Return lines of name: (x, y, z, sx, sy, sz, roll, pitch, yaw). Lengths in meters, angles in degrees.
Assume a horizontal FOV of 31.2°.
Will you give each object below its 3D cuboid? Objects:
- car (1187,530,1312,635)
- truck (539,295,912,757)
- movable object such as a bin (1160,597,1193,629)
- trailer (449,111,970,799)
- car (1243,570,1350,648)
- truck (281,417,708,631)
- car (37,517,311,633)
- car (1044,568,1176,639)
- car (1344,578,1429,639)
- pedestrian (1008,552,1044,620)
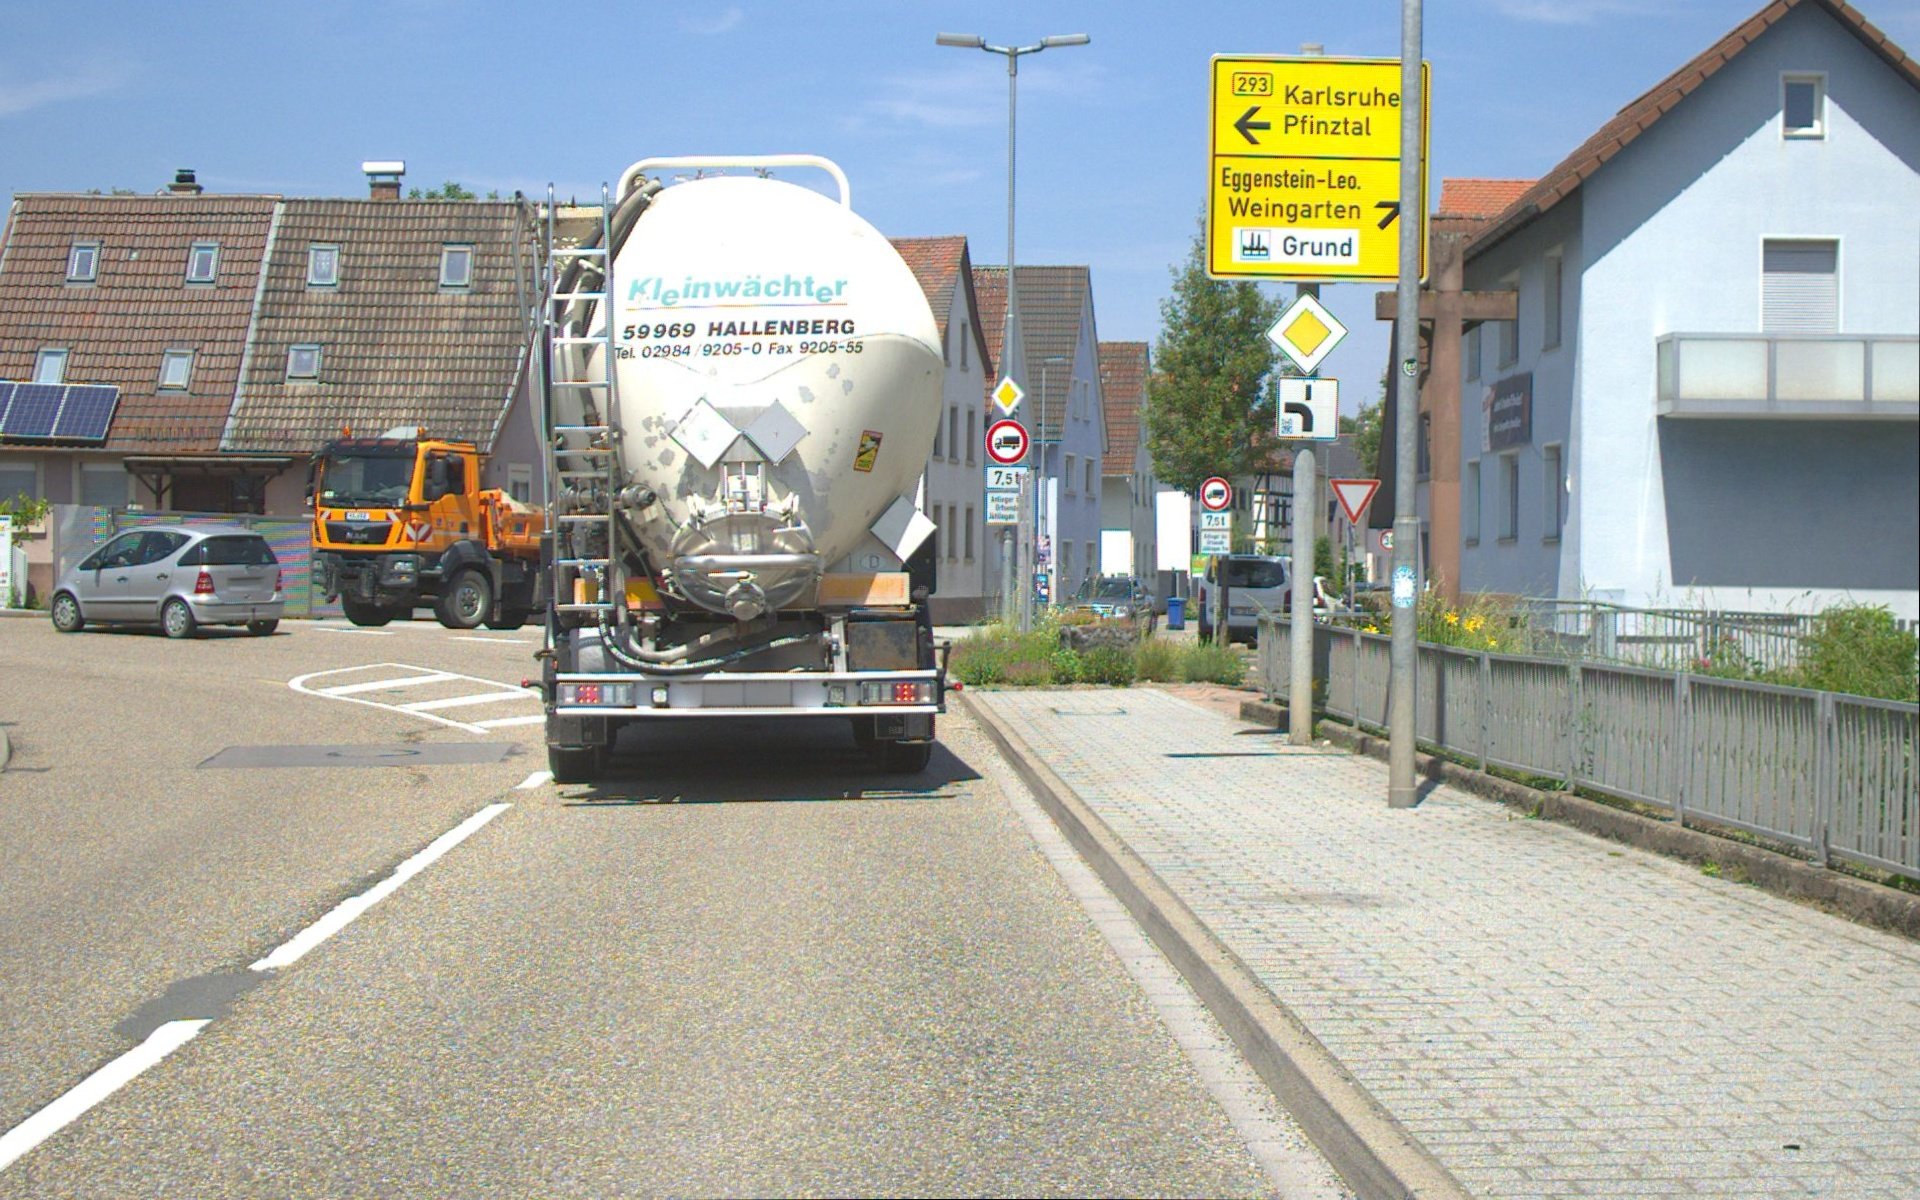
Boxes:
car: (5.773, -0.322, 68.094, 1.994, 1.906, 4.322, 2, -1, 10)
truck: (-2.396, -0.650, 33.146, 2.987, 3.952, 5.580, 2, 0, -9)
movable object such as a bin: (7.215, 0.441, 114.711, 0.920, 1.045, 0.943, 2, 1, 14)
trailer: (-1.766, -0.880, 25.703, 2.952, 3.934, 11.620, 1, 0, -3)
car: (7.386, 0.185, 75.114, 1.818, 1.629, 4.205, 1, 0, 12)
truck: (-7.567, -1.163, 56.956, 2.666, 3.170, 7.448, 1, -1, 34)
car: (-11.065, -0.358, 48.341, 3.601, 1.579, 1.784, 1, 0, 34)
car: (3.880, 0.112, 88.124, 1.996, 1.669, 4.307, 2, -1, 22)
car: (11.566, 0.221, 93.082, 1.994, 1.579, 3.998, 1, 0, 11)
pedestrian: (1.984, -0.424, 103.566, 0.769, 2.007, 0.976, 2, 0, 19)
